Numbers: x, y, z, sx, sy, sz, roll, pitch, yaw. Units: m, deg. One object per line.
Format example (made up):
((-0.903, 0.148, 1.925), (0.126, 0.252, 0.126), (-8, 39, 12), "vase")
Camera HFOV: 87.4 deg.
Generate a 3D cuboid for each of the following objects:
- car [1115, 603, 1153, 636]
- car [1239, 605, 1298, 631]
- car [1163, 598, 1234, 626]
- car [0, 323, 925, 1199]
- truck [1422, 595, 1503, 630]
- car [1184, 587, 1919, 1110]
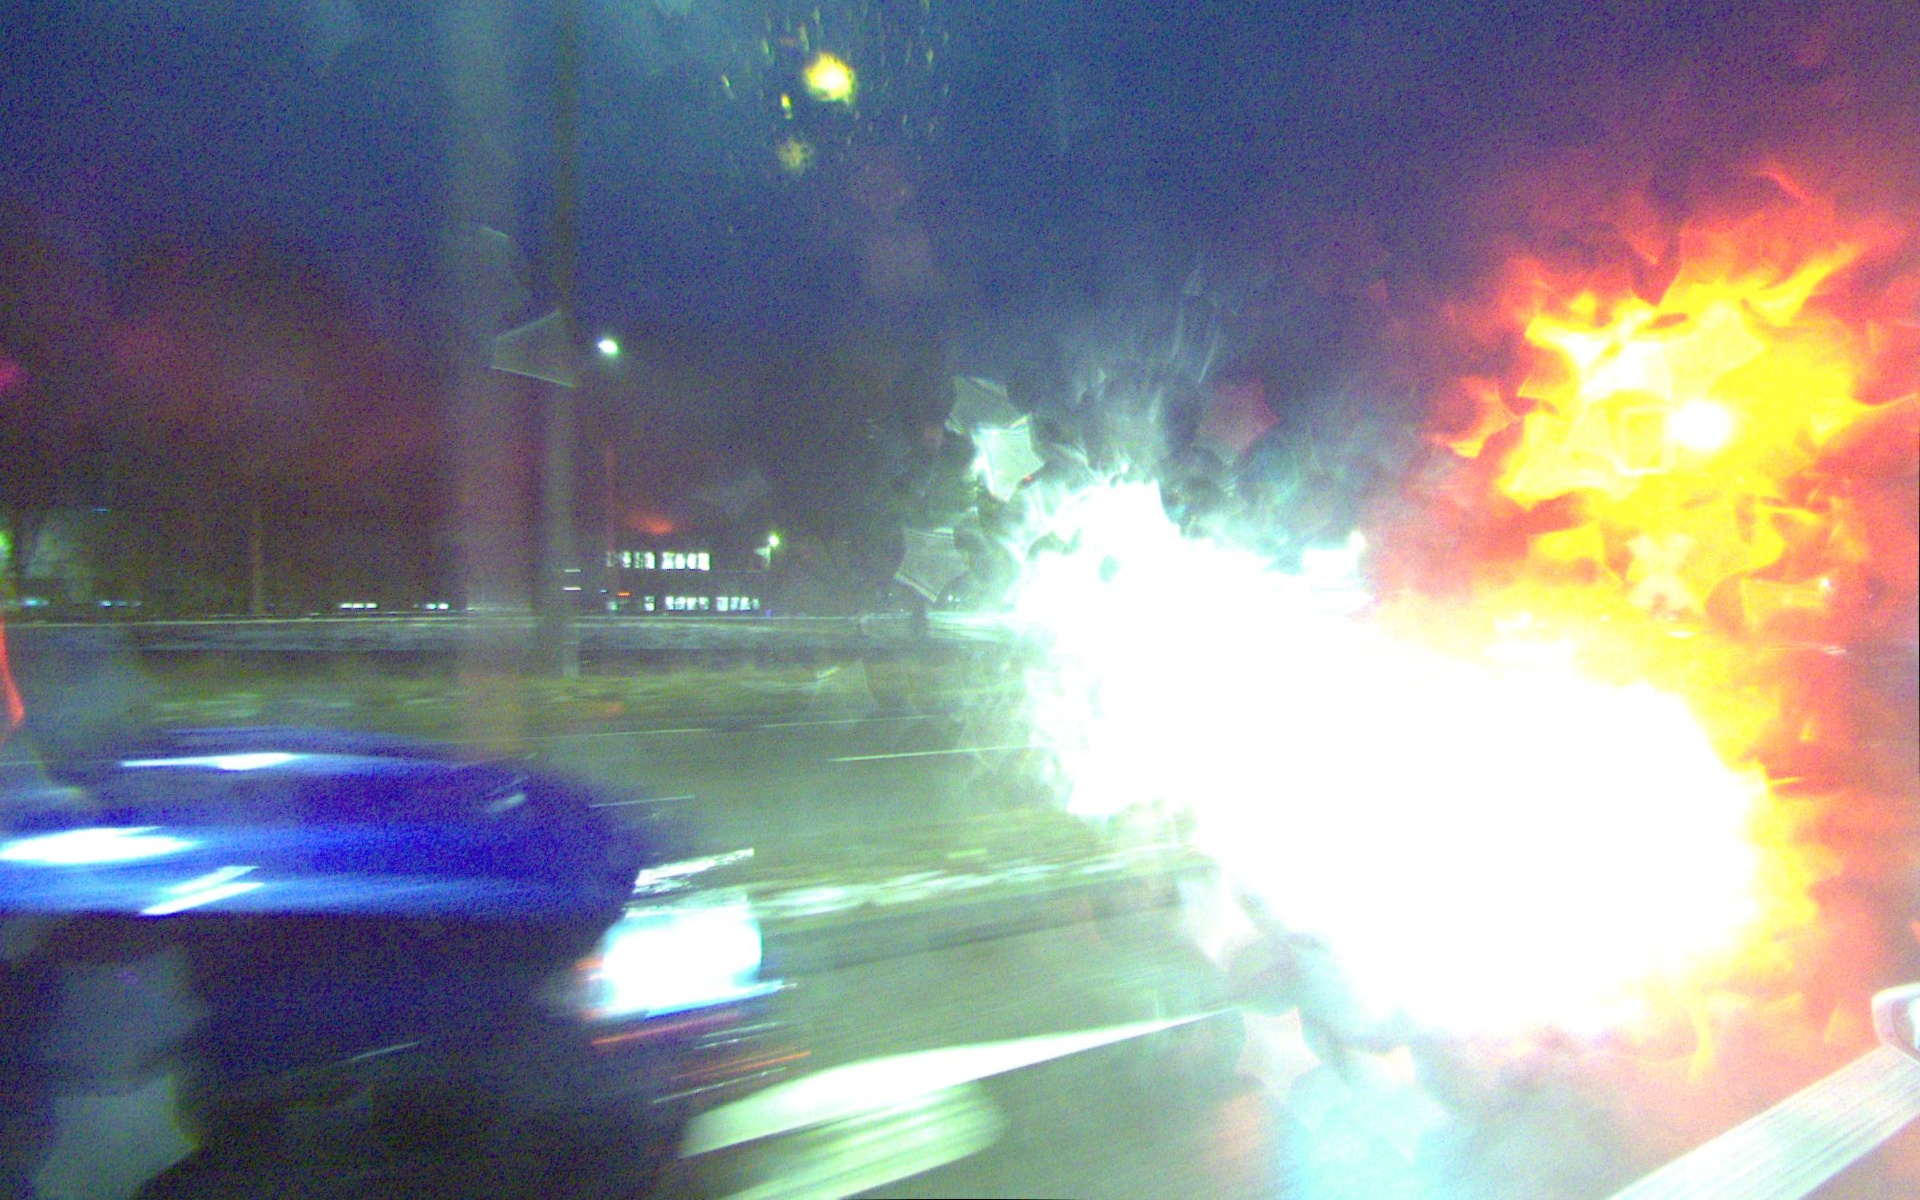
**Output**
((8.994, 0.986, 51.637), (1.485, 1.538, 4.376), (2, 1, 15), "car")
((19.262, 1.121, 62.605), (3.970, 1.539, 1.706), (1, 1, -42), "car")
((13.947, 0.711, 58.637), (3.954, 1.539, 1.712), (1, 1, -31), "car")
((-2.405, 0.558, 1.499), (4.381, 1.806, 1.776), (1, 0, -29), "car")
((34.798, 0.881, 69.531), (5.949, 2.302, 1.984), (1, 1, -30), "truck")
((3.332, 0.780, 4.829), (4.383, 1.531, 1.775), (1, -1, -30), "car")
